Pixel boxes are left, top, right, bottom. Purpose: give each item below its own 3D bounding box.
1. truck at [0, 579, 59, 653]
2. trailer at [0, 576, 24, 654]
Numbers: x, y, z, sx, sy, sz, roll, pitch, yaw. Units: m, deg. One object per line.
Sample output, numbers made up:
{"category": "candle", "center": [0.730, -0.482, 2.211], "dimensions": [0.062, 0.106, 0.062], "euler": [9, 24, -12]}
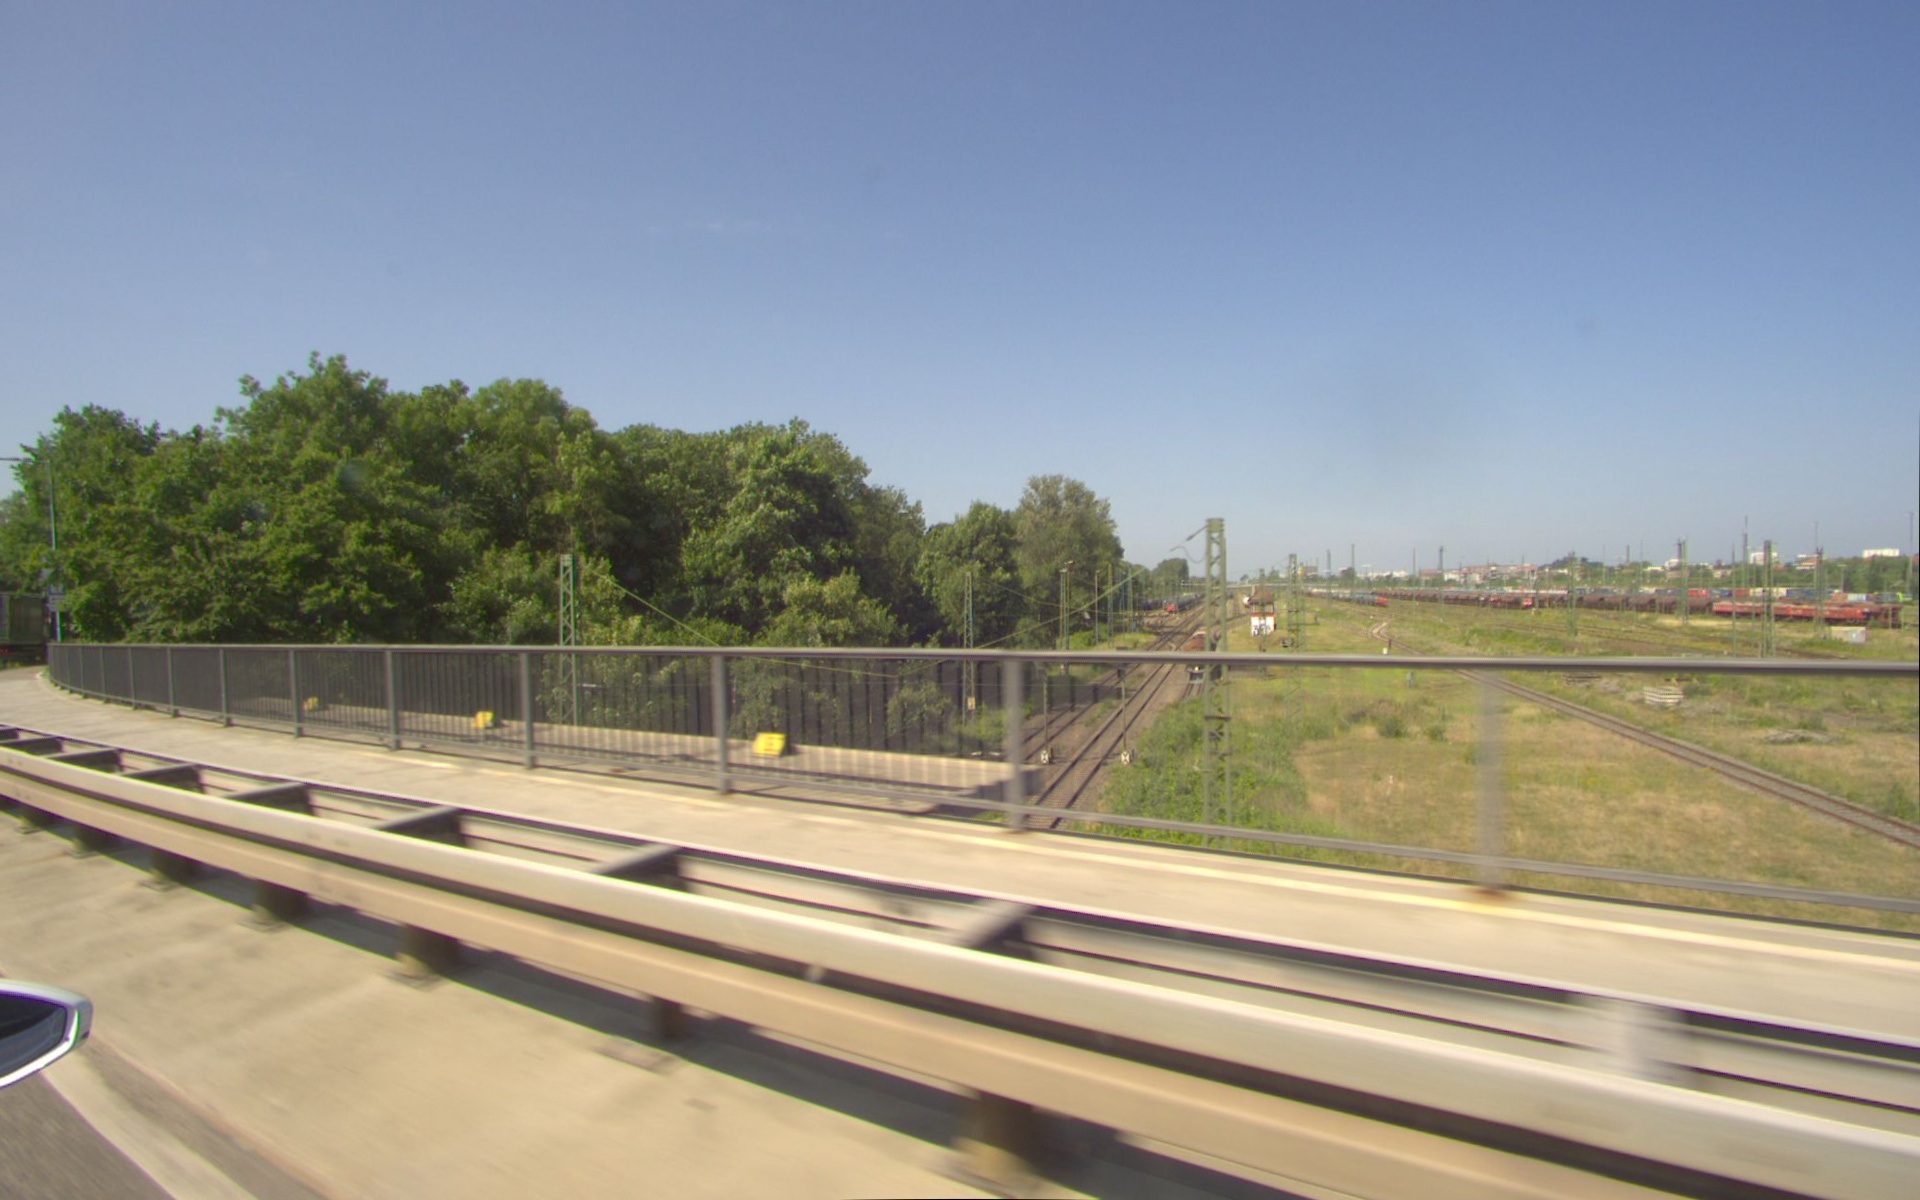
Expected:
{"category": "truck", "center": [-52.808, 0.921, 55.201], "dimensions": [3.229, 3.805, 8.320], "euler": [3, -3, -33]}
{"category": "trailer", "center": [-48.472, 0.695, 48.476], "dimensions": [3.193, 3.805, 7.778], "euler": [3, -3, -33]}
